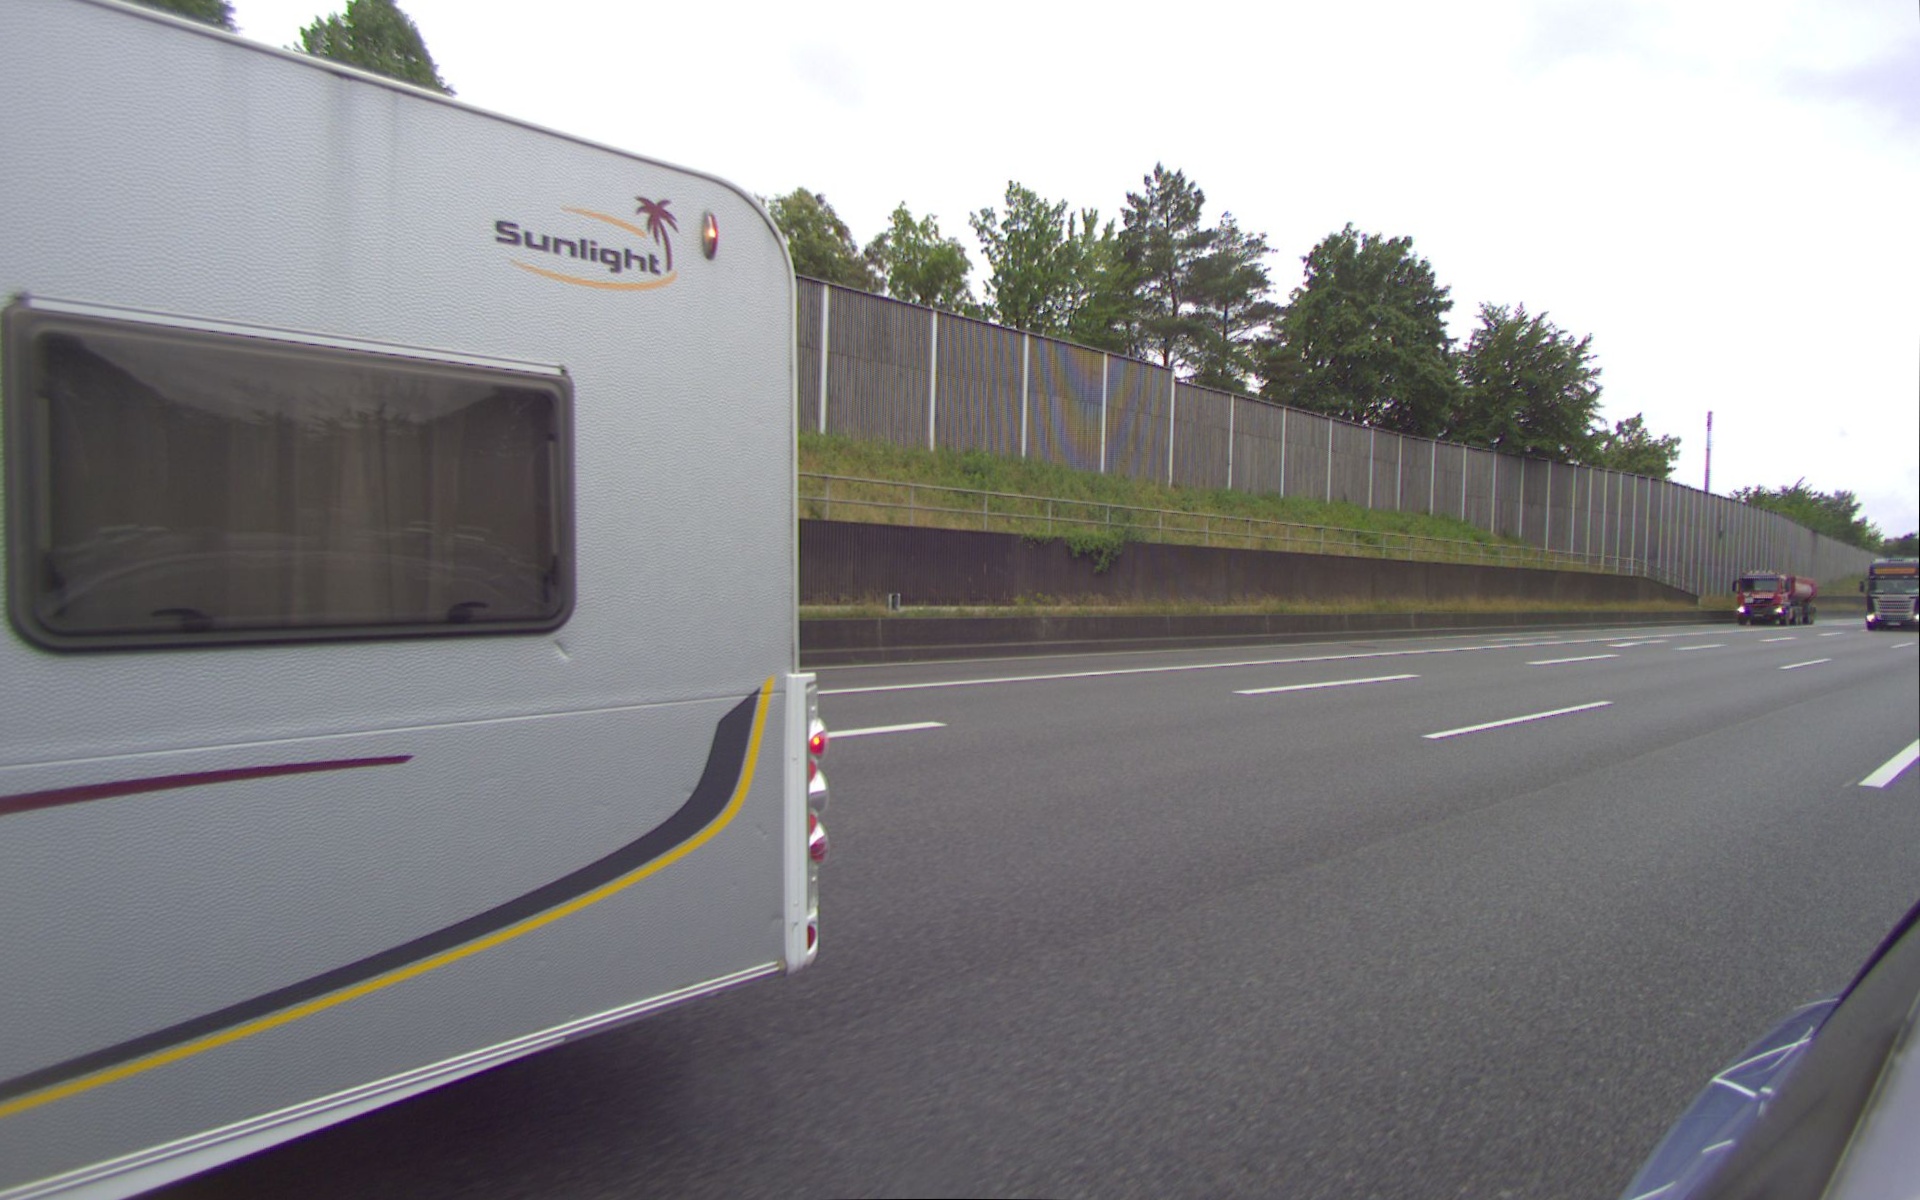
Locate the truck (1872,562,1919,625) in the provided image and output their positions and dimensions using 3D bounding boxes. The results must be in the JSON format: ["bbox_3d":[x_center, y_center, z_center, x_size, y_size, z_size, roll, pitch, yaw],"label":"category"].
[{"bbox_3d":[51.767,-0.367,55.004,4.551,3.277,2.616,0,2,-41],"label":"truck"}]

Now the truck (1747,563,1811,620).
[{"bbox_3d":[52.106,-0.554,64.347,3.929,3.508,2.420,0,2,-40],"label":"truck"}]

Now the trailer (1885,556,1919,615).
[{"bbox_3d":[56.905,-0.802,59.401,9.741,3.288,2.599,0,2,-41],"label":"trailer"}]

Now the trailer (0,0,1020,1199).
[{"bbox_3d":[-3.491,0.043,1.613,7.380,2.675,2.726,0,1,-41],"label":"trailer"}]

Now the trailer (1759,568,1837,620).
[{"bbox_3d":[56.460,-0.405,68.080,9.235,3.288,2.451,0,2,-40],"label":"trailer"}]
